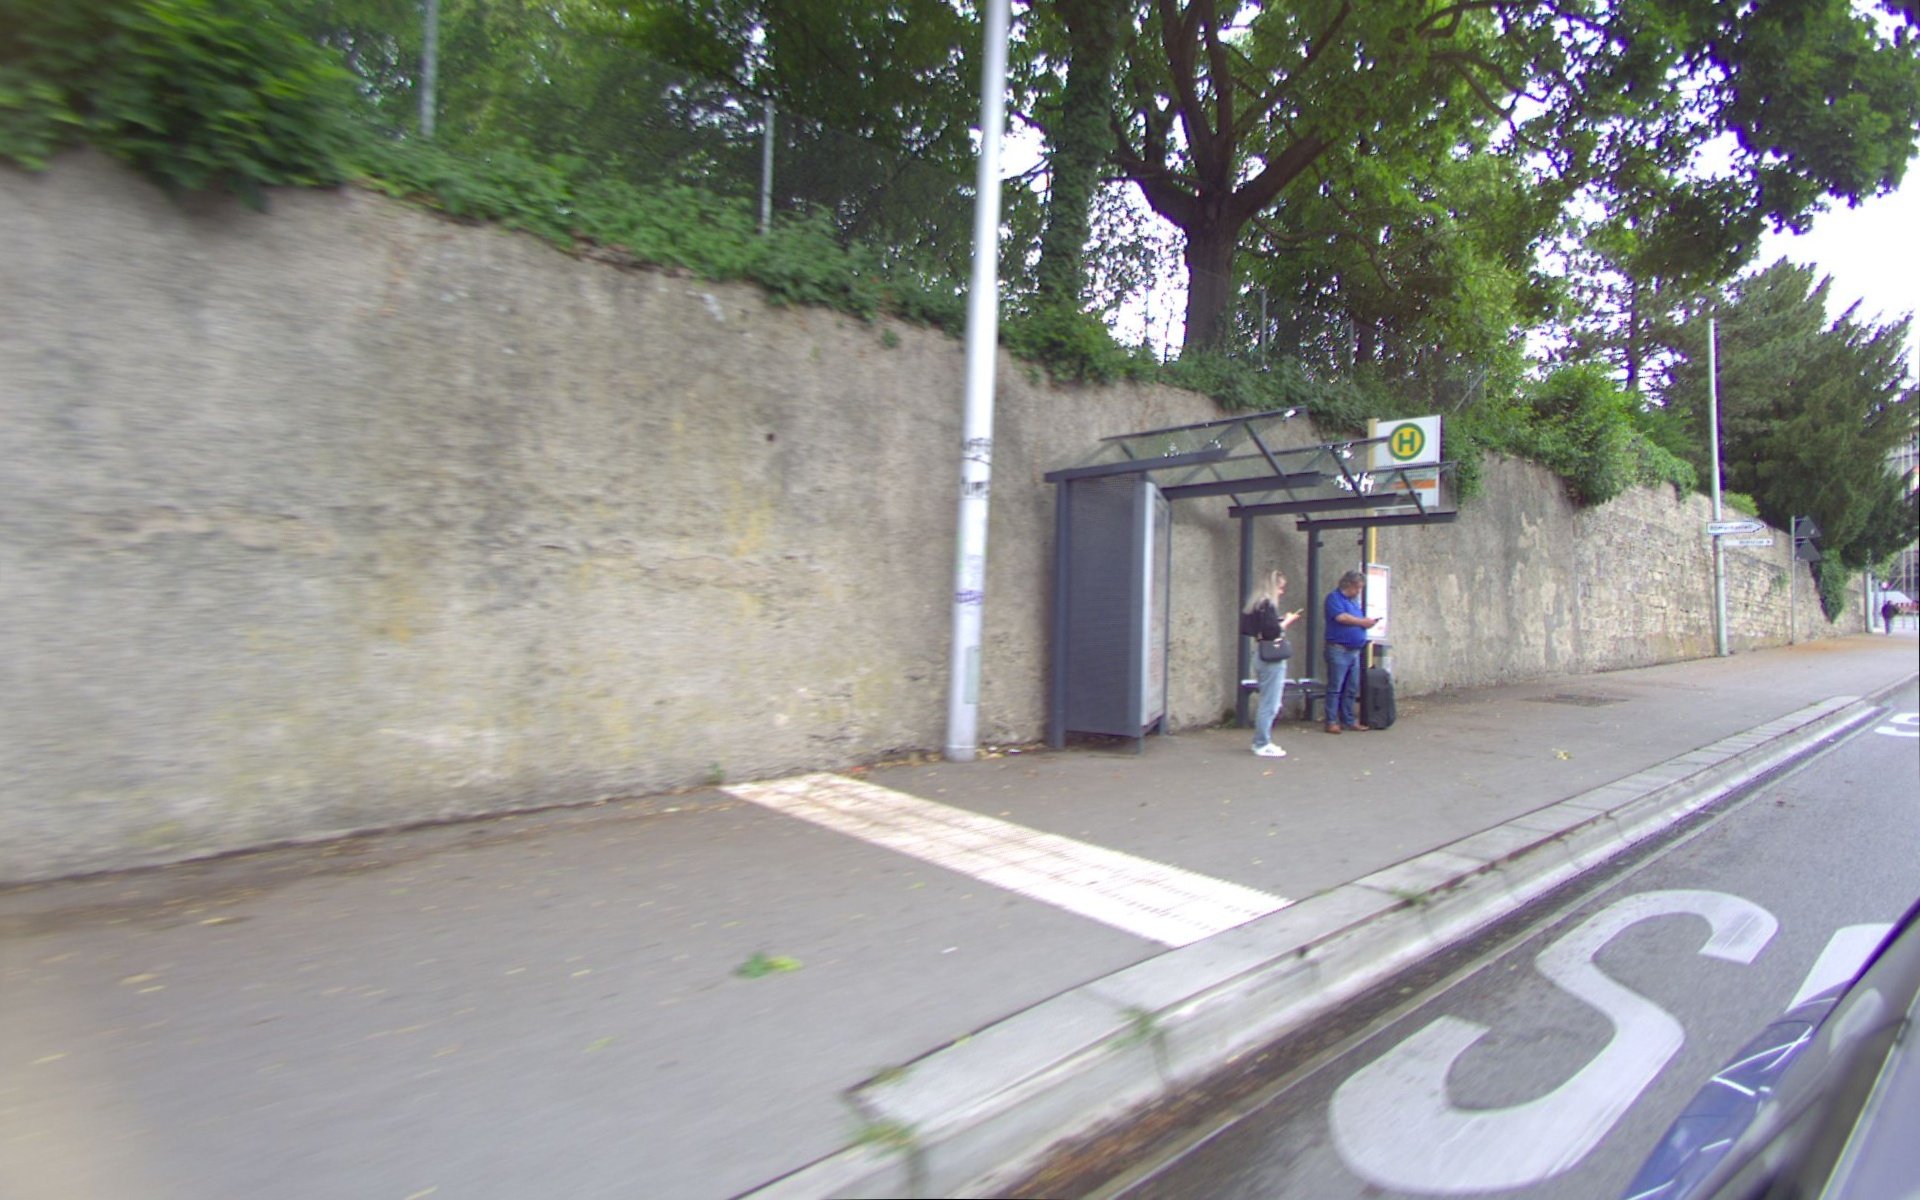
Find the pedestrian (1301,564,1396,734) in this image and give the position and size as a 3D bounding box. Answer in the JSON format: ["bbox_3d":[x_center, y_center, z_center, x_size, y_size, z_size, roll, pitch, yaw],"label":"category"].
[{"bbox_3d":[3.994,0.477,10.410,0.721,1.663,0.621,-1,0,44],"label":"pedestrian"}]

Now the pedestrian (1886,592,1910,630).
[{"bbox_3d":[40.603,0.477,43.817,0.731,1.596,0.731,1,0,-45],"label":"pedestrian"}]

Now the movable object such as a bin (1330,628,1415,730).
[{"bbox_3d":[4.441,0.822,10.892,0.674,1.033,0.617,0,-1,43],"label":"movable object such as a bin"}]

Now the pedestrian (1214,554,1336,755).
[{"bbox_3d":[2.649,0.440,8.570,0.758,1.608,0.737,1,0,0],"label":"pedestrian"}]
